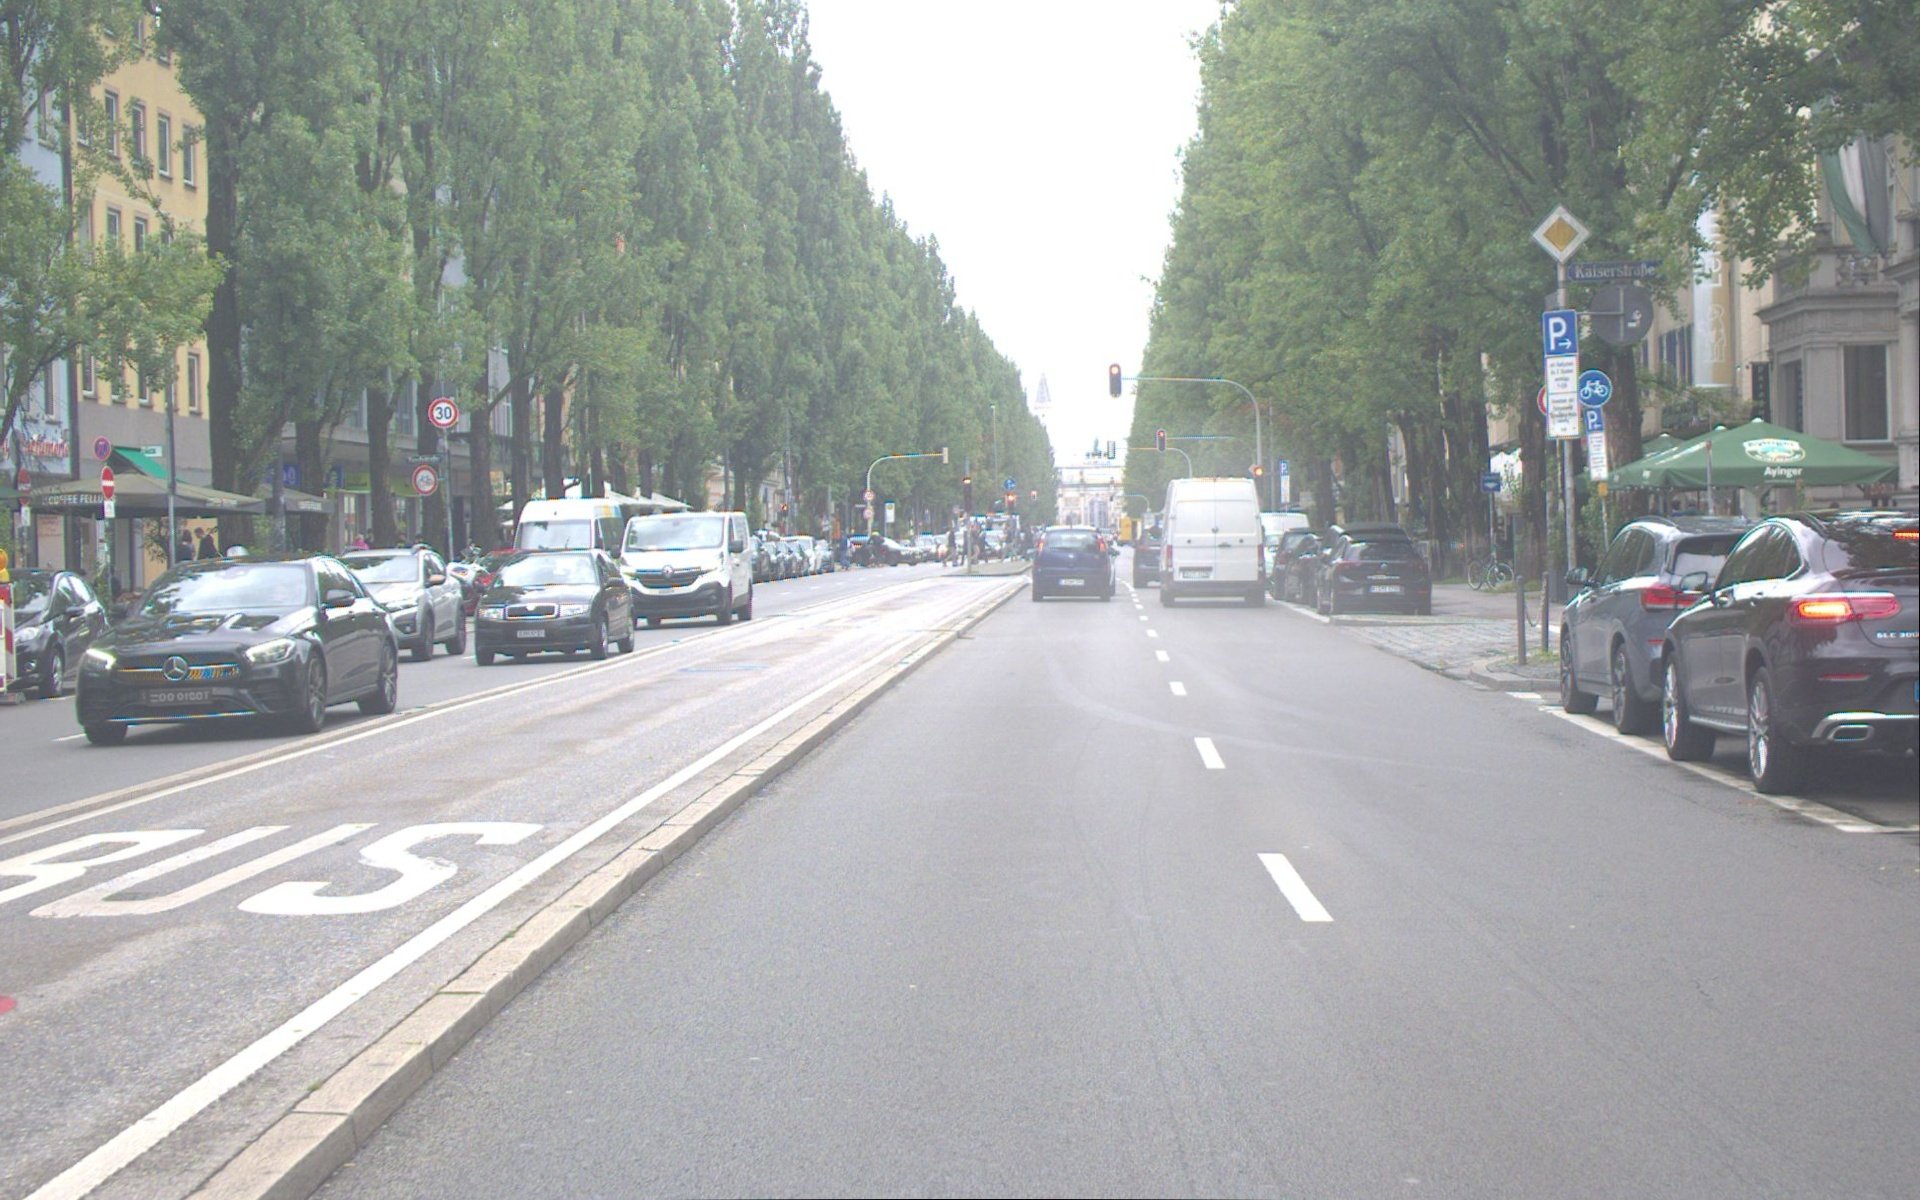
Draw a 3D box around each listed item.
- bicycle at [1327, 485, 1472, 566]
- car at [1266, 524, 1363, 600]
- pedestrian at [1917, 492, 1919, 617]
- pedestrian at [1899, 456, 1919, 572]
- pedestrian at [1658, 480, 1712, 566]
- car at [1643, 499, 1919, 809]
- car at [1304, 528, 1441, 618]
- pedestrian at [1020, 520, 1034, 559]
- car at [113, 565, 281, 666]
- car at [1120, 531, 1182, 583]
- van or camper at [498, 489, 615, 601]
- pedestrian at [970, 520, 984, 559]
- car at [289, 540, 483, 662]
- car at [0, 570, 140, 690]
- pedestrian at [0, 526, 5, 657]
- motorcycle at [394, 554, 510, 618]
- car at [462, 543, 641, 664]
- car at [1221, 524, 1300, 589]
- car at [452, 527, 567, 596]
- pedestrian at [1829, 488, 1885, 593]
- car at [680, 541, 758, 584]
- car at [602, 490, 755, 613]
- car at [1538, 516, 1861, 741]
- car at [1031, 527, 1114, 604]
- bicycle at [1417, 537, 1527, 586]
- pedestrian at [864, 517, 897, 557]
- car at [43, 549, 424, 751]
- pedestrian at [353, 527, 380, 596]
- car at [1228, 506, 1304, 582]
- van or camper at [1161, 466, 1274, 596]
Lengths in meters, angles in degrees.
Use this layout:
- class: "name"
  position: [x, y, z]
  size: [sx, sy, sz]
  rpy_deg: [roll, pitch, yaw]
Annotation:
- class: "bicycle"
  position: [11.103, -1.874, 86.869]
  size: [3.550, 2.007, 1.296]
  rpy_deg: [0, 0, 11]
- class: "car"
  position: [7.679, -0.814, 74.697]
  size: [1.805, 1.590, 4.000]
  rpy_deg: [0, 0, 2]
- class: "pedestrian"
  position: [13.007, -0.611, 45.188]
  size: [0.669, 1.645, 0.625]
  rpy_deg: [-1, 1, 29]
- class: "pedestrian"
  position: [13.705, -1.215, 48.859]
  size: [0.648, 1.641, 0.765]
  rpy_deg: [0, 0, 11]
- class: "pedestrian"
  position: [15.082, -1.609, 71.533]
  size: [0.814, 1.749, 0.932]
  rpy_deg: [-1, 1, 29]
- class: "car"
  position: [5.379, 0.224, 20.651]
  size: [1.881, 1.636, 4.582]
  rpy_deg: [-1, 1, 4]
- class: "car"
  position: [7.148, -0.502, 59.917]
  size: [1.944, 1.462, 4.000]
  rpy_deg: [-2, 1, 1]
- class: "pedestrian"
  position: [2.988, -2.697, 153.447]
  size: [0.553, 1.710, 0.493]
  rpy_deg: [-2, 1, 3]
- class: "car"
  position: [-10.395, 0.193, 47.007]
  size: [1.512, 1.340, 3.237]
  rpy_deg: [0, 0, 1]
- class: "car"
  position: [4.982, -1.141, 90.007]
  size: [1.504, 1.308, 3.283]
  rpy_deg: [-1, 1, 2]
- class: "van or camper"
  position: [-9.232, -1.274, 78.961]
  size: [1.993, 2.450, 4.251]
  rpy_deg: [-1, 1, 2]
- class: "pedestrian"
  position: [0.749, -2.719, 153.666]
  size: [0.553, 1.710, 0.493]
  rpy_deg: [-2, 1, 3]
- class: "car"
  position: [-7.801, -0.003, 47.066]
  size: [1.826, 1.527, 4.000]
  rpy_deg: [-2, 0, 2]
- class: "car"
  position: [-10.768, 0.320, 39.275]
  size: [1.810, 1.246, 3.700]
  rpy_deg: [-1, 1, 1]
- class: "pedestrian"
  position: [-13.391, -0.121, 46.902]
  size: [0.665, 1.781, 0.830]
  rpy_deg: [0, 0, -14]
- class: "motorcycle"
  position: [-9.762, -0.278, 66.292]
  size: [1.238, 1.136, 3.716]
  rpy_deg: [-1, 1, 7]
- class: "car"
  position: [-5.158, 0.016, 43.824]
  size: [1.712, 1.409, 3.723]
  rpy_deg: [-2, 1, 1]
- class: "car"
  position: [7.503, -1.080, 86.153]
  size: [1.762, 1.590, 4.000]
  rpy_deg: [0, 0, 2]
- class: "car"
  position: [-9.515, -0.801, 72.880]
  size: [1.795, 1.424, 4.000]
  rpy_deg: [0, 0, 2]
- class: "pedestrian"
  position: [16.009, -1.058, 61.372]
  size: [0.760, 1.847, 0.740]
  rpy_deg: [-2, 1, -1]
- class: "car"
  position: [-8.145, -1.253, 116.320]
  size: [1.994, 1.415, 3.999]
  rpy_deg: [0, 0, 6]
- class: "car"
  position: [-4.817, -0.825, 59.440]
  size: [1.993, 1.927, 4.918]
  rpy_deg: [-3, 1, 2]
- class: "car"
  position: [5.610, 0.149, 26.559]
  size: [1.623, 1.560, 4.371]
  rpy_deg: [-1, 1, 1]
- class: "car"
  position: [2.442, -0.747, 74.217]
  size: [1.759, 1.614, 3.747]
  rpy_deg: [0, 0, 2]
- class: "bicycle"
  position: [11.193, -0.842, 75.224]
  size: [0.759, 1.020, 2.734]
  rpy_deg: [-2, 1, -33]
- class: "pedestrian"
  position: [-3.871, -3.037, 166.344]
  size: [1.137, 1.910, 1.153]
  rpy_deg: [-2, 1, -29]
- class: "car"
  position: [-5.957, 0.351, 28.803]
  size: [1.993, 1.427, 4.772]
  rpy_deg: [-2, 1, 2]
- class: "pedestrian"
  position: [-16.119, -1.055, 93.386]
  size: [0.582, 1.850, 0.675]
  rpy_deg: [-1, 1, 1]
- class: "car"
  position: [8.191, -1.486, 92.164]
  size: [1.805, 1.985, 4.000]
  rpy_deg: [0, 0, 2]
- class: "van or camper"
  position: [5.102, -1.332, 68.561]
  size: [2.034, 2.467, 4.000]
  rpy_deg: [-1, 0, 2]
